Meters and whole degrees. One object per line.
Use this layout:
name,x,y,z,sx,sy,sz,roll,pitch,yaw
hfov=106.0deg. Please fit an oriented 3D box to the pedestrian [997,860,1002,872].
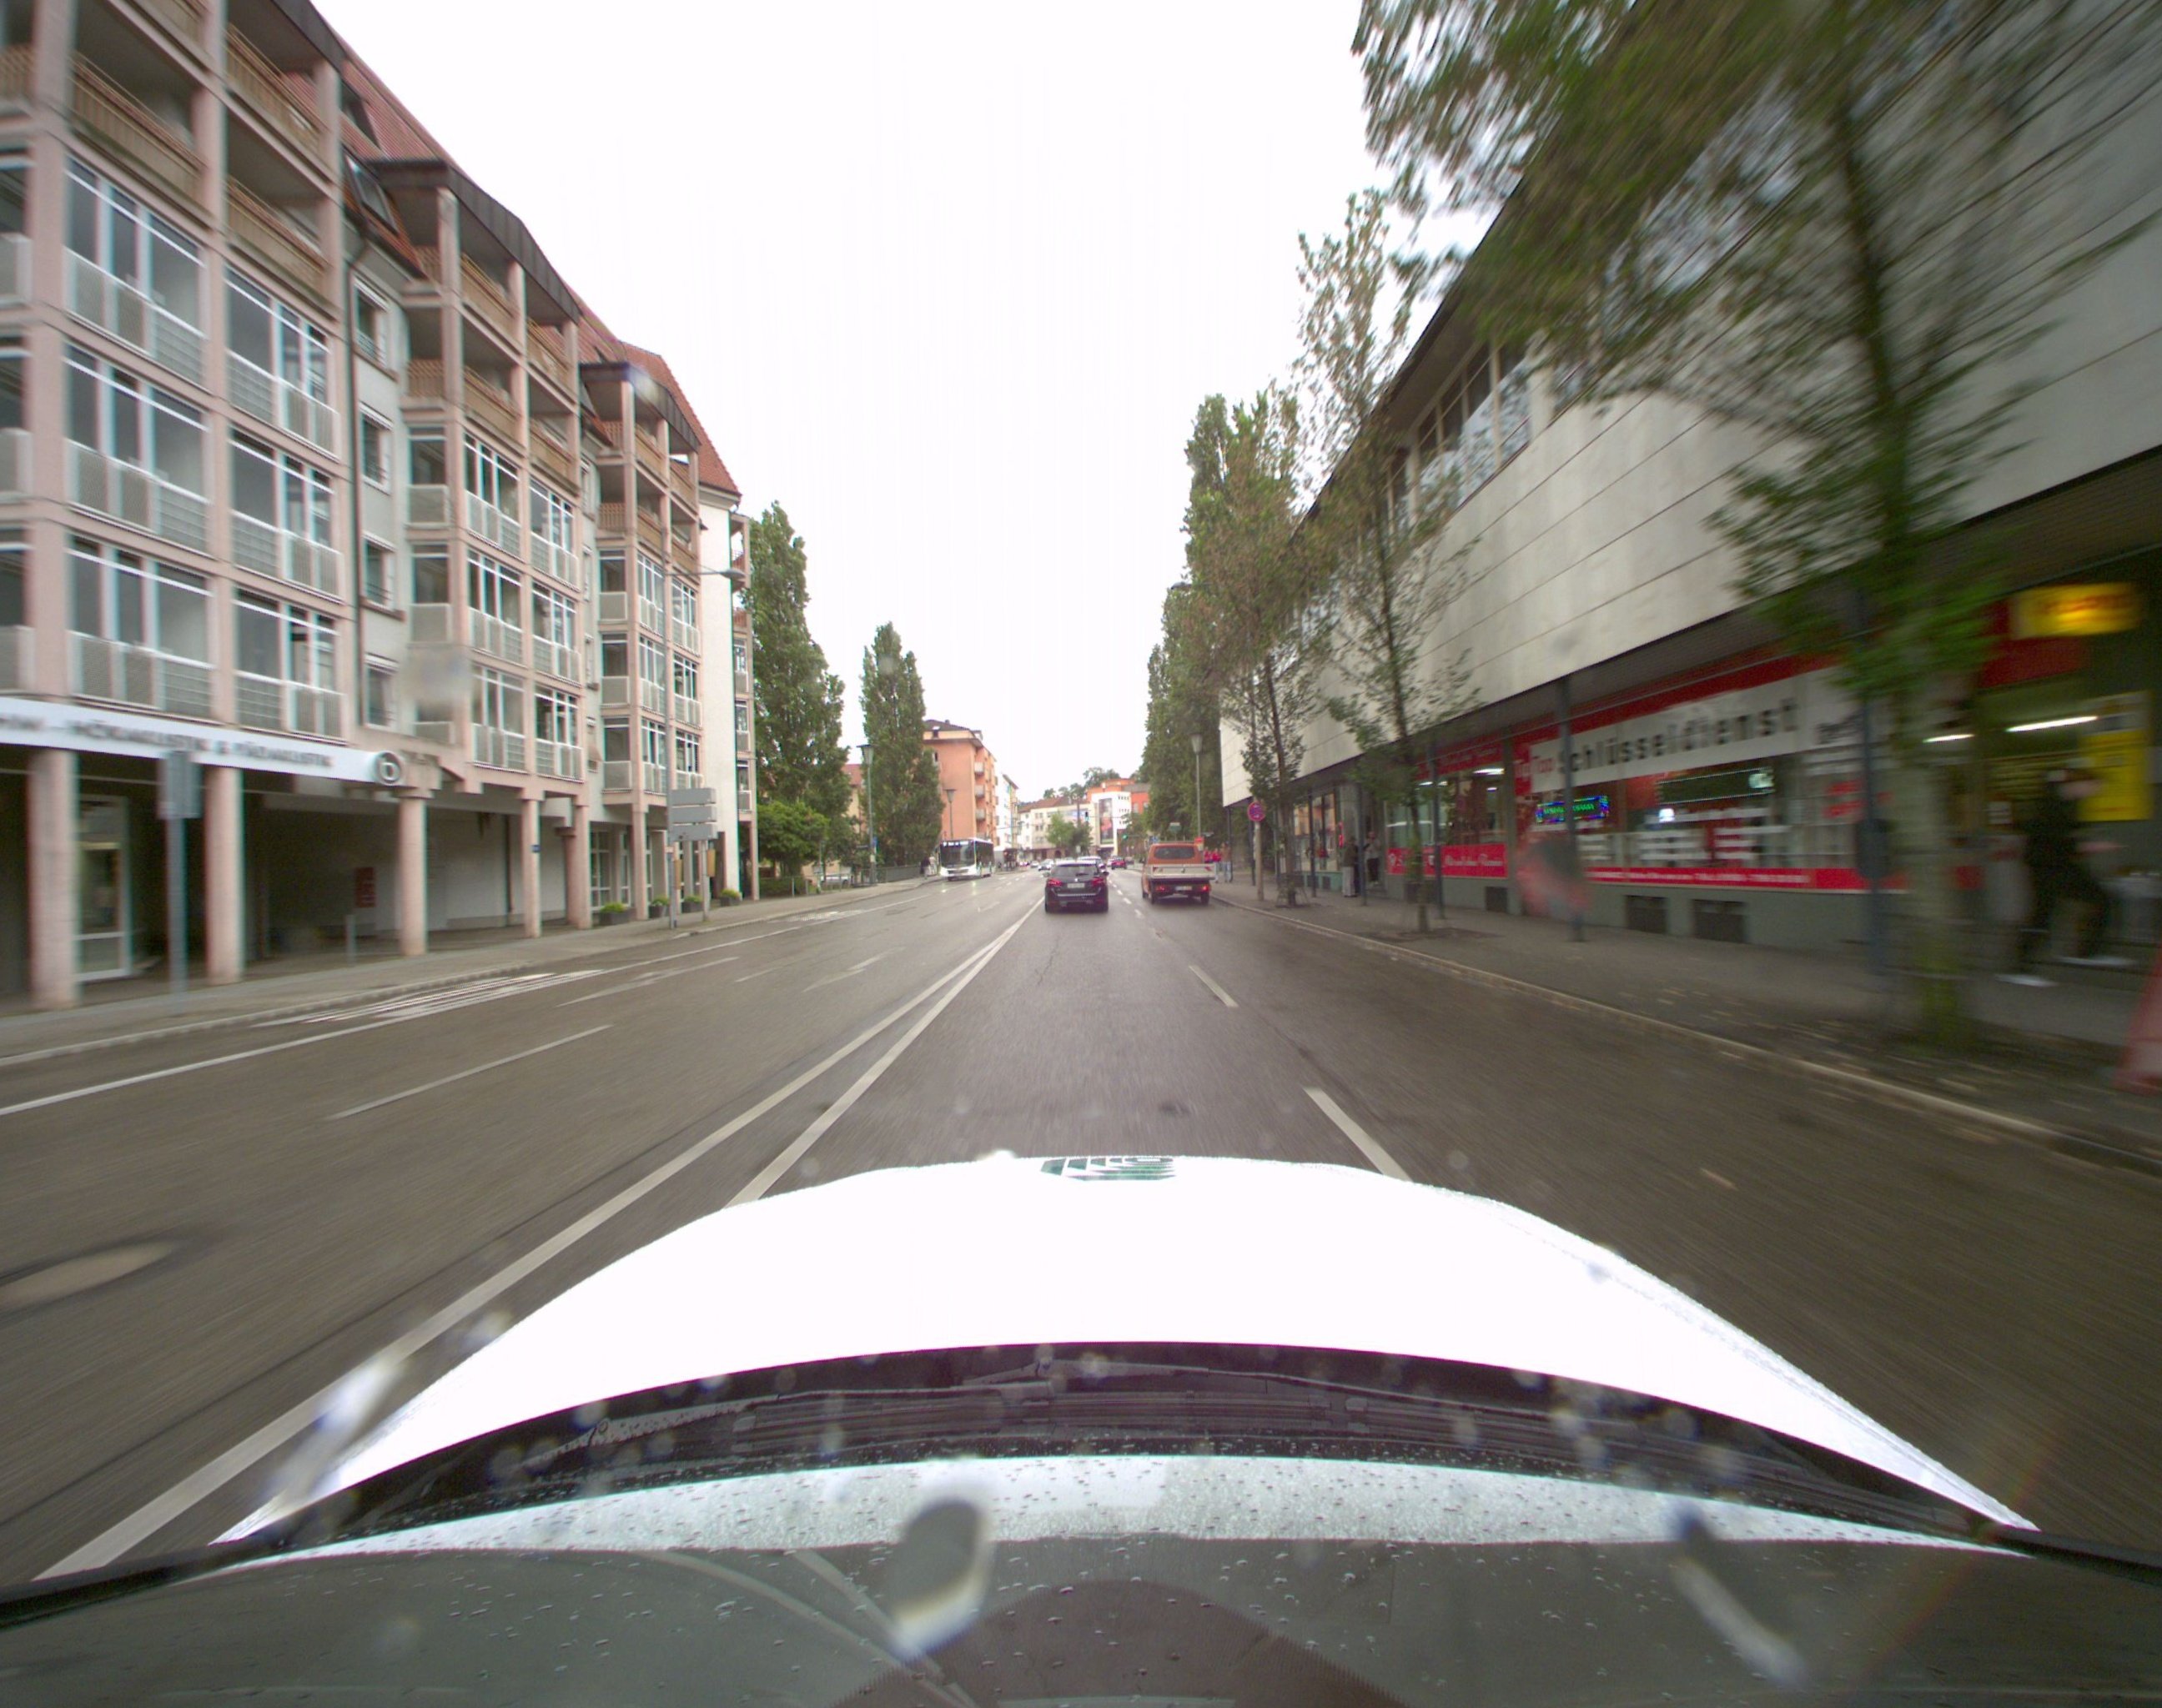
pedestrian,-12.268,1.819,123.088,0.637,1.861,0.523,-1,-1,-2

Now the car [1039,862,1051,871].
car,-5.858,1.970,132.222,1.786,1.325,4.405,-2,0,0

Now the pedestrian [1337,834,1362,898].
pedestrian,7.863,0.355,23.835,0.533,1.820,0.536,-3,0,9

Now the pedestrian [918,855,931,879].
pedestrian,-11.711,0.961,61.106,0.695,1.794,0.959,-1,-1,3

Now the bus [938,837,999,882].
bus,-8.492,0.266,63.229,2.734,3.075,12.239,-2,1,1

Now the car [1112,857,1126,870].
car,4.866,1.244,103.896,1.639,1.564,3.599,0,-3,0

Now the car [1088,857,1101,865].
car,2.879,1.593,176.801,1.994,1.684,3.985,-2,-1,-11

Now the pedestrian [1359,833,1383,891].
pedestrian,8.799,0.239,24.681,0.533,1.719,0.536,-3,0,10

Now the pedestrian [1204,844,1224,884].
pedestrian,6.083,0.437,37.162,0.651,1.767,0.923,-4,0,0

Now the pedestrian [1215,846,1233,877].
pedestrian,7.624,0.377,43.464,0.723,1.589,0.606,-4,0,0

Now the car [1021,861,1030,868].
car,-13.145,2.484,193.958,1.991,1.684,3.991,-2,-1,-6

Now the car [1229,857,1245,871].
car,25.434,1.626,132.840,1.897,2.014,3.722,1,-3,-2

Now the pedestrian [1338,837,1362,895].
pedestrian,8.107,0.360,24.567,0.533,1.719,0.536,-3,0,9

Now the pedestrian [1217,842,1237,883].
pedestrian,6.622,0.397,37.071,0.696,1.801,0.606,-4,0,0

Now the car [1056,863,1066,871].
car,-3.678,2.426,152.493,1.659,1.399,3.875,-3,-1,0

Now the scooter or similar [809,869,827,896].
scooter or similar,-13.968,1.509,43.263,0.480,1.313,1.570,-3,2,-3

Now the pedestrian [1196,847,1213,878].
pedestrian,6.656,0.438,44.026,0.715,1.620,0.769,-4,0,0

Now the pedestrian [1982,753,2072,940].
pedestrian,8.260,-0.066,7.124,0.512,1.566,0.425,-3,0,-44

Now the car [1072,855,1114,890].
car,0.614,0.860,38.964,1.787,1.483,4.003,-3,-1,3

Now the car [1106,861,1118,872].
car,5.632,2.266,146.449,1.987,1.821,4.000,-1,0,0

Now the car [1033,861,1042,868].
car,-9.454,2.333,177.208,1.659,1.399,3.875,-3,-1,0

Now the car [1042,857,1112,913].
car,-0.039,0.865,23.836,1.787,1.484,4.003,-1,-1,3

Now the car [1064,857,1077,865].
car,-2.364,1.640,184.643,1.652,1.564,3.570,2,-3,-24

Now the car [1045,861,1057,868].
car,-6.637,2.372,179.180,1.668,1.399,3.855,-3,-1,-16

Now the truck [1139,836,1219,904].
truck,3.126,0.532,26.965,2.114,2.025,4.716,-1,-1,1

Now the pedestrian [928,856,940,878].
pedestrian,-12.086,1.092,66.836,0.794,1.794,0.813,-1,-1,2

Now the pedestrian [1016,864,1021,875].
pedestrian,-11.791,2.853,153.643,0.731,2.014,0.651,2,-4,-33

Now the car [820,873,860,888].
car,-28.011,3.063,94.800,3.973,1.387,1.899,-3,-1,1

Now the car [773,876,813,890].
car,-33.549,3.374,94.869,3.973,1.388,1.899,-2,-1,1
